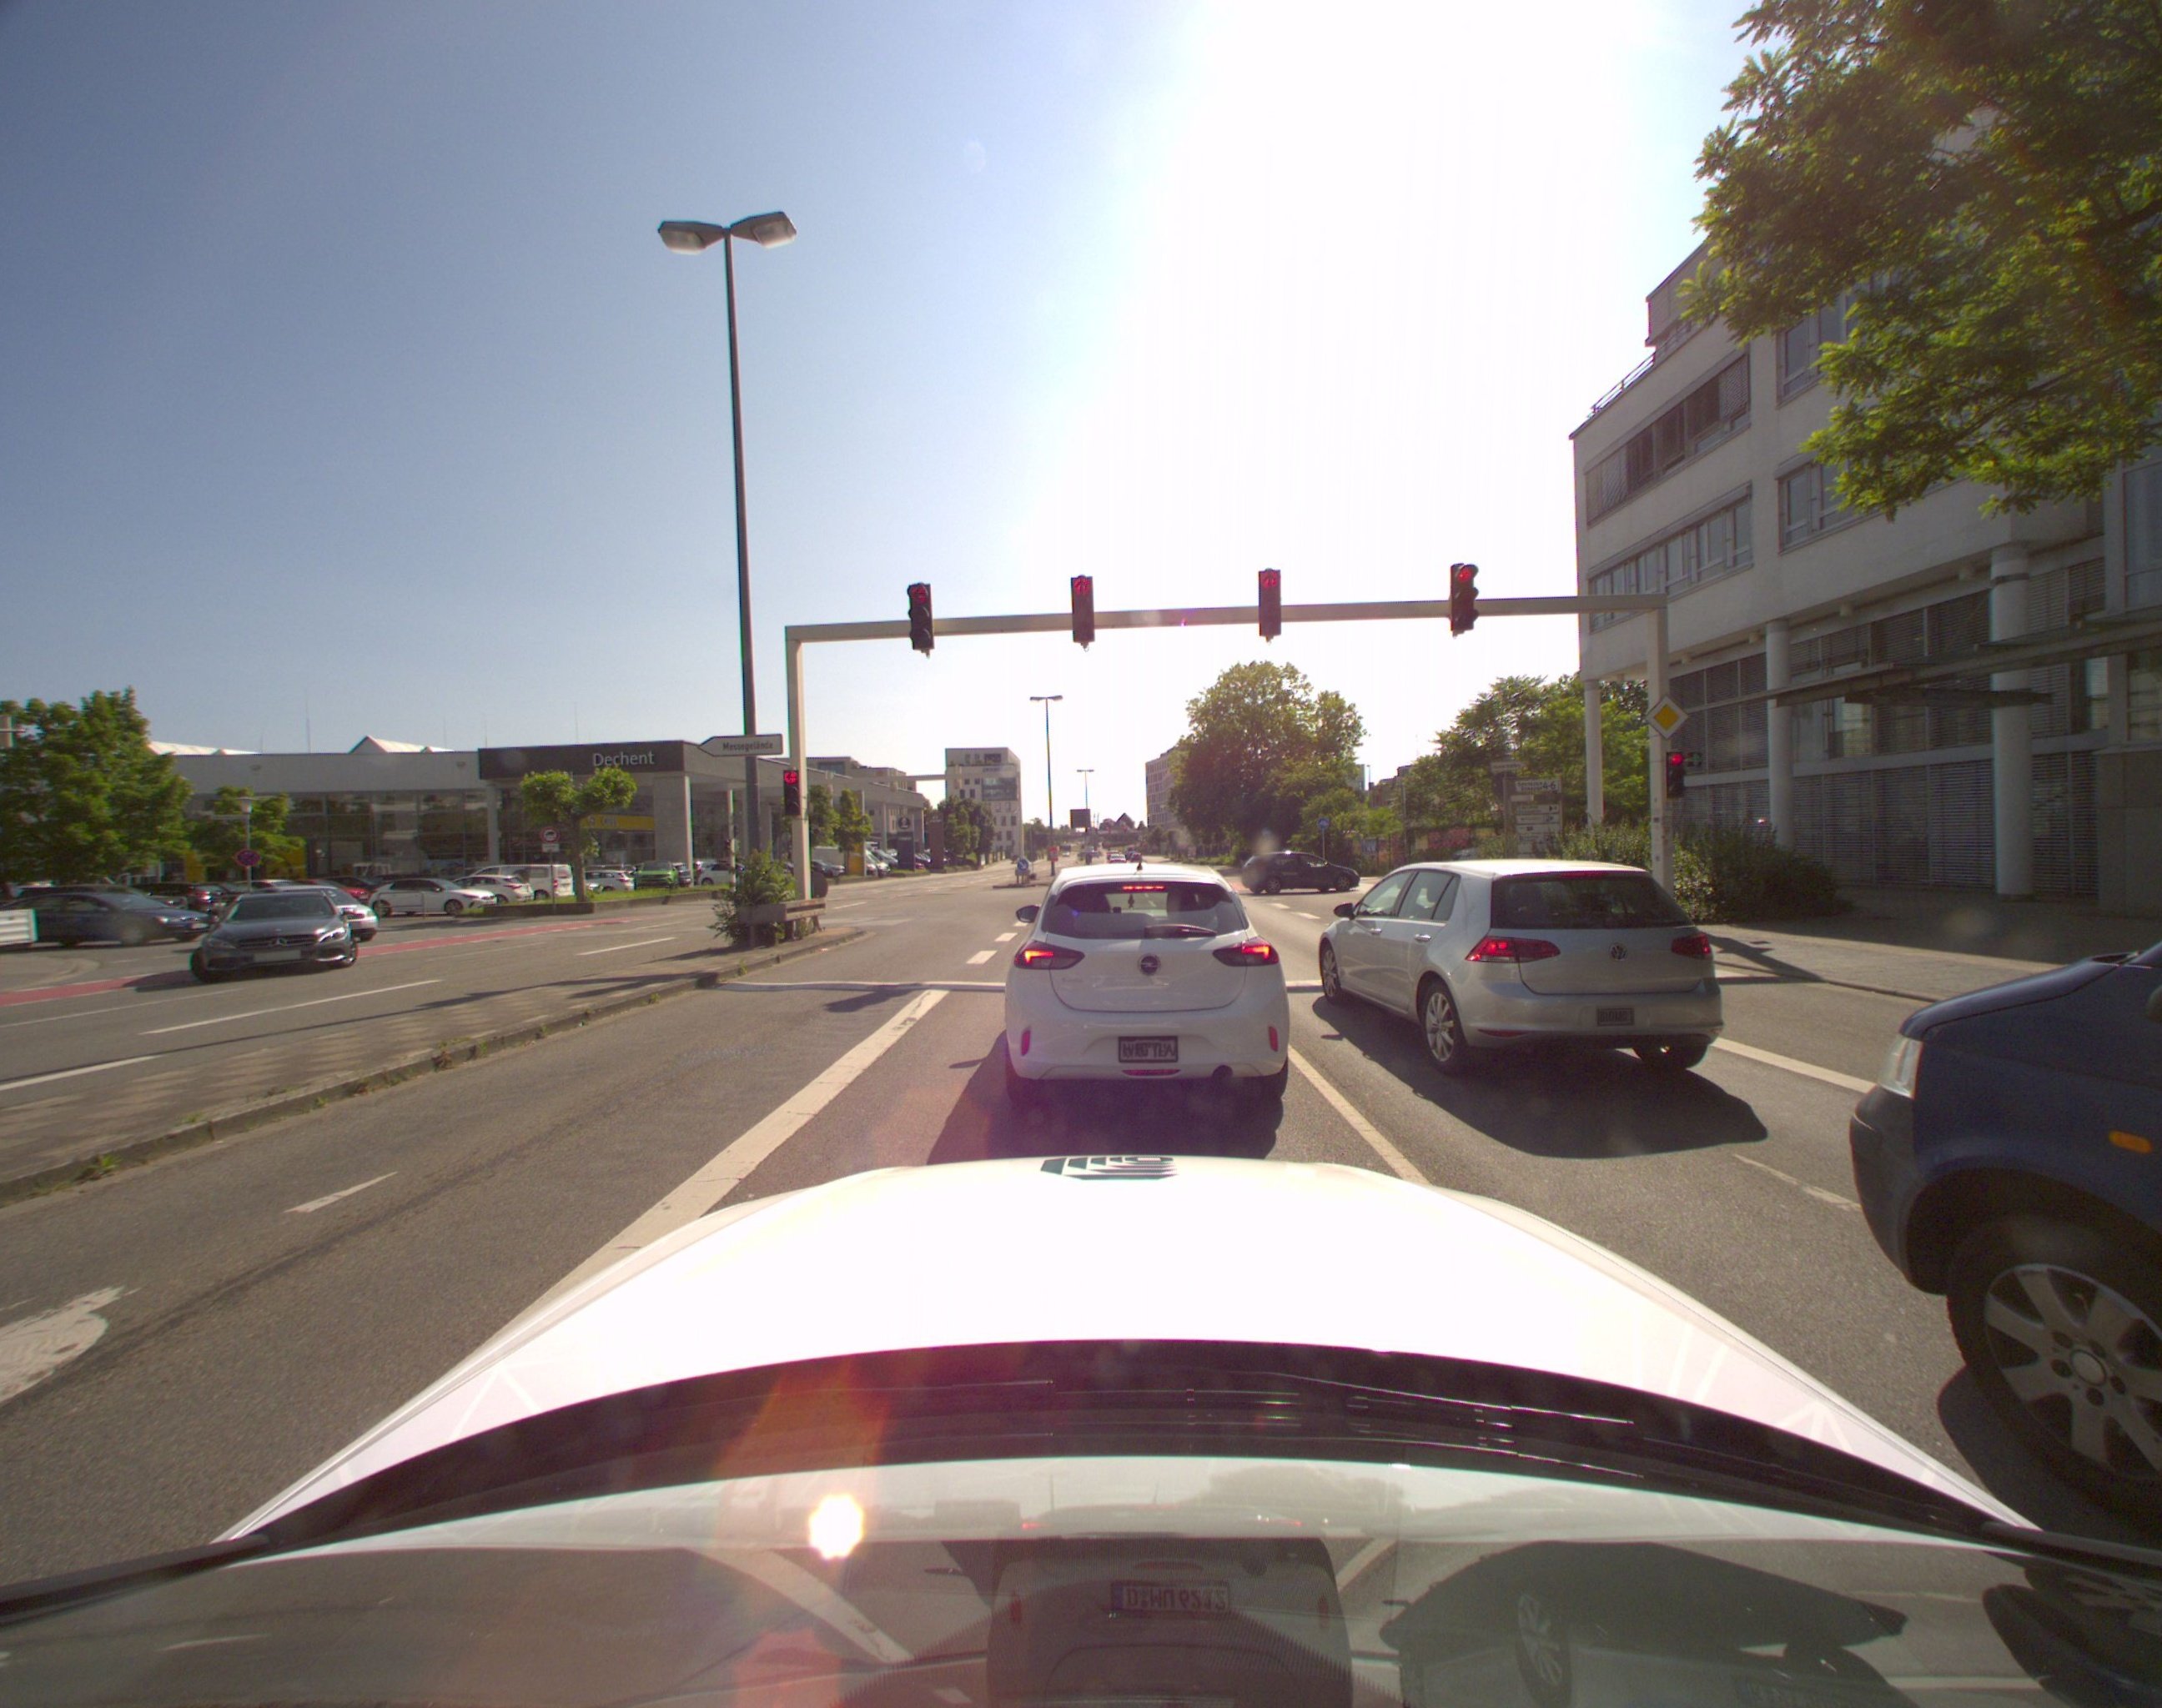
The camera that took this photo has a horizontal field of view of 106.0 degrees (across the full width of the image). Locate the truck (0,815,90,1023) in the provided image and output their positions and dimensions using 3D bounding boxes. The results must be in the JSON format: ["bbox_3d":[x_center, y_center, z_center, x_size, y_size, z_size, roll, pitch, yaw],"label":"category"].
[{"bbox_3d":[-14.574,0.892,7.588,2.346,2.545,6.445,-5,0,4],"label":"truck"}]

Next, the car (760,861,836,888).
[{"bbox_3d":[-18.981,1.352,54.703,4.343,1.696,1.999,-2,0,-1],"label":"car"}]

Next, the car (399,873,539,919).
[{"bbox_3d":[-26.249,1.778,35.052,4.348,1.696,1.997,-2,0,-4],"label":"car"}]

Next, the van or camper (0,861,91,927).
[{"bbox_3d":[-41.947,1.573,31.336,4.711,2.400,1.995,-2,0,-8],"label":"van or camper"}]

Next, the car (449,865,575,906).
[{"bbox_3d":[-26.558,1.441,38.156,4.353,1.696,1.995,-2,0,-7],"label":"car"}]

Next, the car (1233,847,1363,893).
[{"bbox_3d":[7.657,0.545,28.962,3.982,1.442,1.996,-2,0,-6],"label":"car"}]

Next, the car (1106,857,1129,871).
[{"bbox_3d":[3.518,0.930,77.527,1.984,1.331,4.005,0,-1,4],"label":"car"}]

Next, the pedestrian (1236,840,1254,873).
[{"bbox_3d":[11.437,0.192,56.836,1.023,2.238,1.039,-2,0,1],"label":"pedestrian"}]

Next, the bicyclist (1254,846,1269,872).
[{"bbox_3d":[11.540,0.337,52.045,0.687,1.643,0.775,-2,0,-7],"label":"bicyclist"}]

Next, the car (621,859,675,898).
[{"bbox_3d":[-21.253,1.217,39.952,1.915,1.733,3.258,-2,-1,-35],"label":"car"}]

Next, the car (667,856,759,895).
[{"bbox_3d":[-19.259,1.093,42.773,3.859,1.837,1.999,-2,0,-1],"label":"car"}]

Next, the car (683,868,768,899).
[{"bbox_3d":[-20.398,1.663,46.847,3.981,1.599,1.996,-2,0,-6],"label":"car"}]

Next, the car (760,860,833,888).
[{"bbox_3d":[-19.871,1.377,56.958,4.344,1.696,1.999,-2,0,-1],"label":"car"}]

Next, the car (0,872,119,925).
[{"bbox_3d":[-43.163,1.823,33.695,3.984,2.013,1.995,-2,0,-8],"label":"car"}]

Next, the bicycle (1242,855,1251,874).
[{"bbox_3d":[10.861,0.681,53.396,0.371,1.216,1.154,0,0,2],"label":"bicycle"}]

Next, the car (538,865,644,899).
[{"bbox_3d":[-26.157,1.495,43.581,4.352,1.591,1.996,-2,0,-7],"label":"car"}]

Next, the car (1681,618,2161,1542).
[{"bbox_3d":[3.222,0.445,0.612,1.986,1.948,4.892,-2,-1,2],"label":"car"}]

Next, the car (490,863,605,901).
[{"bbox_3d":[-26.753,1.385,40.983,4.353,1.696,1.995,-2,0,-7],"label":"car"}]

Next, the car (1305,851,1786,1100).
[{"bbox_3d":[3.328,0.740,6.873,1.801,1.429,4.001,-2,-1,1],"label":"car"}]

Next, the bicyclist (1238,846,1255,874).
[{"bbox_3d":[10.836,0.410,53.389,0.876,1.772,0.864,-2,0,1],"label":"bicyclist"}]

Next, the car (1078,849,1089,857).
[{"bbox_3d":[0.454,-0.189,141.760,1.799,1.386,4.001,0,-1,2],"label":"car"}]

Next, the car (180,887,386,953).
[{"bbox_3d":[-20.341,1.669,20.826,3.878,1.438,1.783,-2,0,10],"label":"car"}]

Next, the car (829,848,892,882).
[{"bbox_3d":[-18.470,0.938,68.348,4.469,2.684,2.134,-2,0,10],"label":"car"}]

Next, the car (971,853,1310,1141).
[{"bbox_3d":[0.377,0.769,6.379,1.773,1.494,4.001,-2,0,2],"label":"car"}]

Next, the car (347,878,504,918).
[{"bbox_3d":[-25.538,1.683,31.856,4.348,1.300,1.997,-2,0,-4],"label":"car"}]

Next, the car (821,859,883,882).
[{"bbox_3d":[-18.504,1.337,65.897,4.334,1.696,2.004,-2,0,6],"label":"car"}]

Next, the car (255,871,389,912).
[{"bbox_3d":[-36.619,1.777,39.411,4.352,1.696,1.995,-2,0,-7],"label":"car"}]

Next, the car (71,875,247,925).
[{"bbox_3d":[-36.091,1.764,31.999,4.348,1.696,1.997,-2,0,-4],"label":"car"}]

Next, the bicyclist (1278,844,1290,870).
[{"bbox_3d":[13.079,0.179,52.532,0.650,1.637,0.660,0,-1,1],"label":"bicyclist"}]

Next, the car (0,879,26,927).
[{"bbox_3d":[-40.636,1.812,28.316,4.371,1.696,1.987,-2,0,-20],"label":"car"}]

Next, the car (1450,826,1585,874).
[{"bbox_3d":[17.644,-0.159,33.147,4.389,1.551,2.007,-4,-1,12],"label":"car"}]

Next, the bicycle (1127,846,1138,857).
[{"bbox_3d":[9.789,-0.467,155.423,1.986,2.157,4.001,-2,0,1],"label":"bicycle"}]

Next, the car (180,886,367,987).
[{"bbox_3d":[-14.965,1.399,15.370,1.971,1.427,4.533,-1,0,-38],"label":"car"}]

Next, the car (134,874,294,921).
[{"bbox_3d":[-36.346,1.806,34.241,4.348,1.696,1.997,-2,0,-4],"label":"car"}]

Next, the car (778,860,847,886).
[{"bbox_3d":[-19.785,1.389,60.149,4.344,1.696,1.999,-2,0,-1],"label":"car"}]

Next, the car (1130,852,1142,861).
[{"bbox_3d":[8.974,0.472,133.200,1.799,1.386,4.001,0,-1,2],"label":"car"}]

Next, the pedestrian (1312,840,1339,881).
[{"bbox_3d":[12.429,0.344,41.457,1.023,2.013,1.039,-2,0,1],"label":"pedestrian"}]

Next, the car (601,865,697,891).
[{"bbox_3d":[-24.703,1.374,46.675,4.352,1.268,1.995,-3,-2,-7],"label":"car"}]

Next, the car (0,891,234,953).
[{"bbox_3d":[-26.967,1.843,22.602,4.363,1.447,1.990,-1,0,-14],"label":"car"}]

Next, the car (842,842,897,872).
[{"bbox_3d":[-19.095,0.269,73.683,4.334,2.601,2.004,-2,0,6],"label":"car"}]

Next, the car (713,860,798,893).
[{"bbox_3d":[-19.742,1.348,49.574,4.284,1.765,1.999,-2,0,-1],"label":"car"}]

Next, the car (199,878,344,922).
[{"bbox_3d":[-36.682,2.060,37.008,4.348,1.696,1.997,-2,0,-4],"label":"car"}]

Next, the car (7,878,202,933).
[{"bbox_3d":[-35.190,1.819,29.467,4.348,1.696,1.997,-2,0,-4],"label":"car"}]
